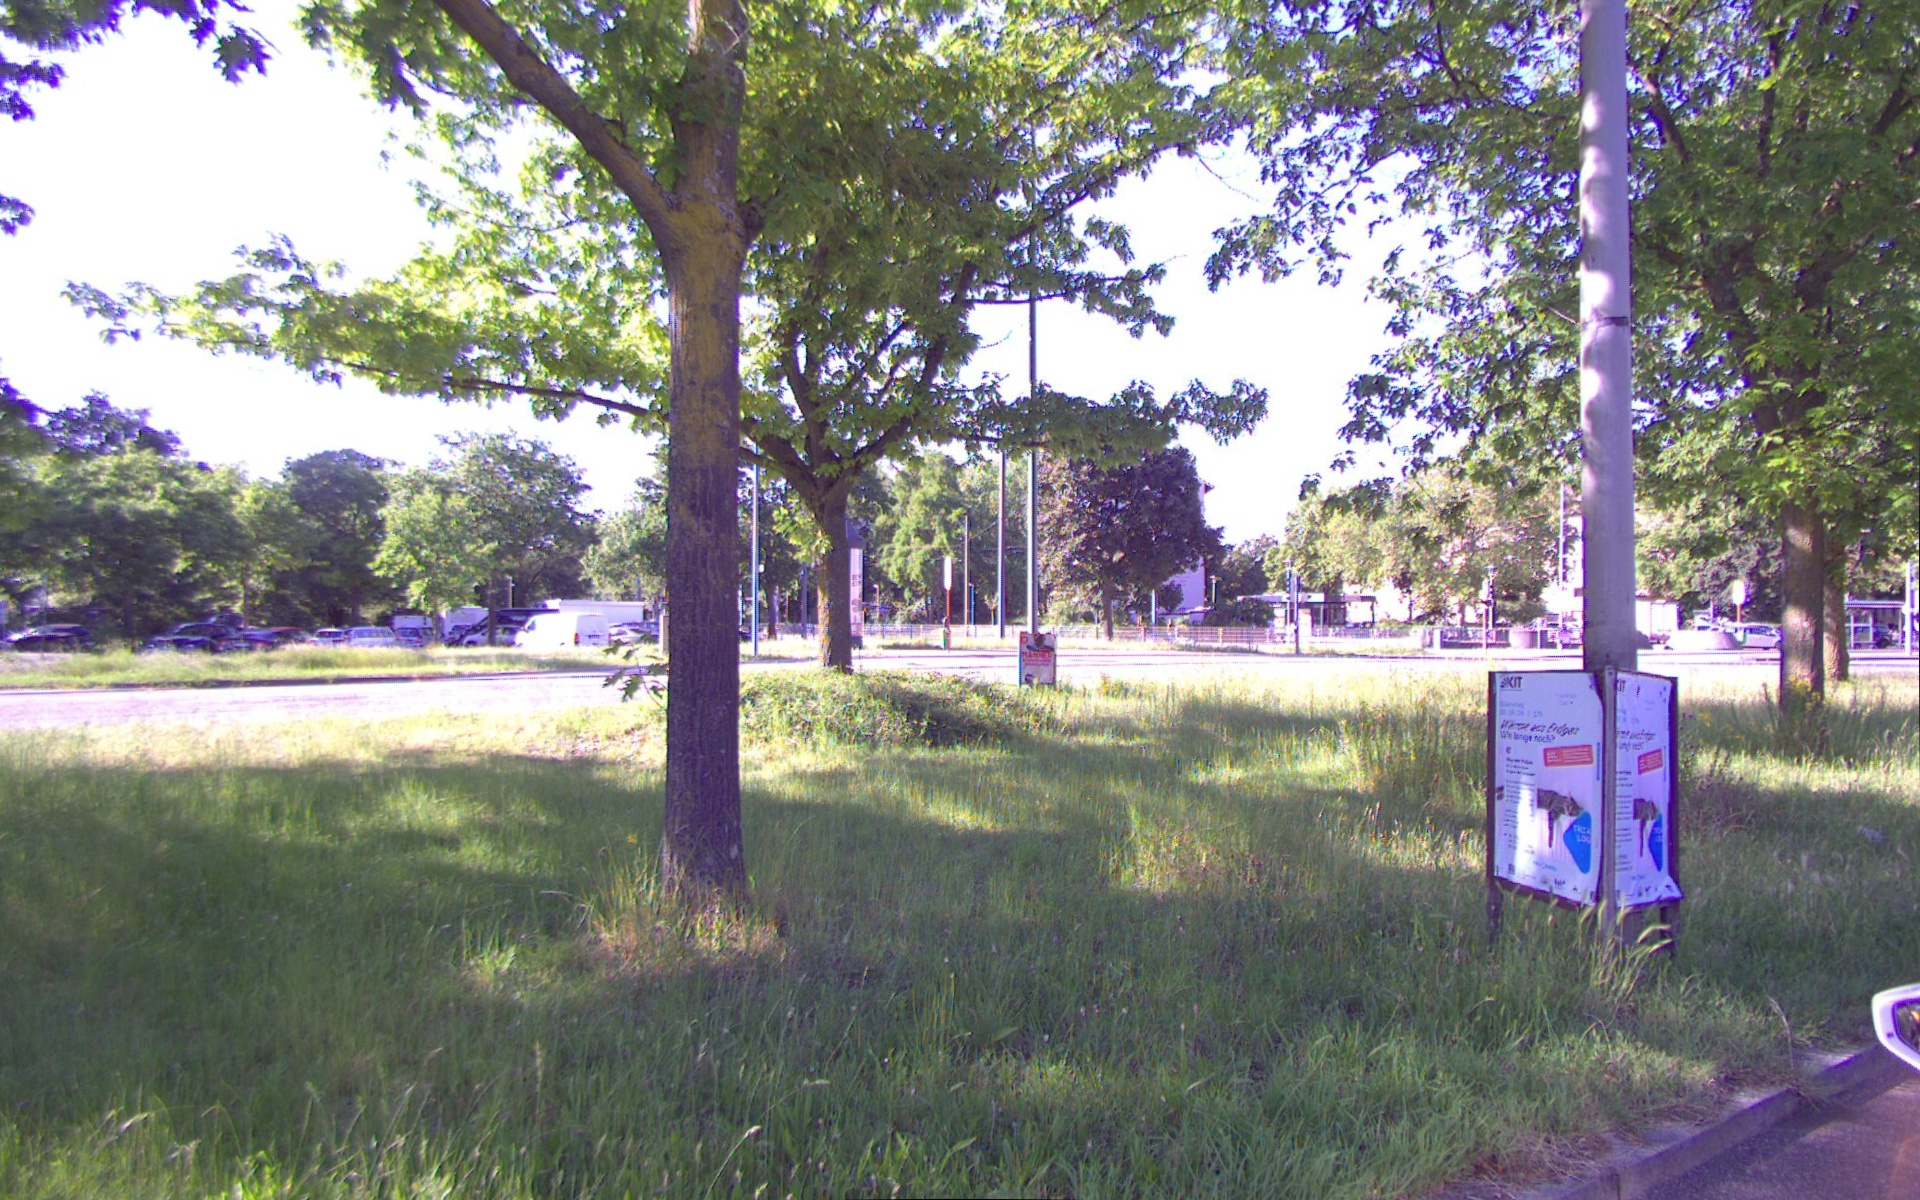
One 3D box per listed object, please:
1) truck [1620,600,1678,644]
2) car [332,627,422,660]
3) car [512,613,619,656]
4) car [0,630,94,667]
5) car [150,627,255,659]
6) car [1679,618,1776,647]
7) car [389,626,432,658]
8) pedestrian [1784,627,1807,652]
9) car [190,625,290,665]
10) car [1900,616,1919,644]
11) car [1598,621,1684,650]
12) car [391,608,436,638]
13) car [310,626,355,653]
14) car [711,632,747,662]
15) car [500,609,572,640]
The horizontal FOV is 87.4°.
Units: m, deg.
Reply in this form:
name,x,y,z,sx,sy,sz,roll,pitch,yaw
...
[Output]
name,x,y,z,sx,sy,sz,roll,pitch,yaw
truck,46.642,1.470,68.089,1.960,2.842,4.002,0,-1,15
car,-21.824,1.621,37.632,2.769,1.171,1.326,1,-1,-40
car,-17.216,1.462,43.799,4.670,1.762,2.024,0,-1,34
car,-47.657,2.480,51.902,1.966,1.817,3.990,0,-1,32
car,-26.841,1.491,35.627,1.315,1.078,2.777,0,-1,42
car,46.908,1.957,61.464,4.233,1.706,2.001,0,-1,9
car,-26.700,2.014,48.777,1.602,1.438,3.050,1,-1,-33
pedestrian,53.688,2.537,64.555,0.781,1.629,0.923,0,-1,9
car,-25.231,1.551,35.242,2.769,1.323,1.326,1,-1,-40
car,71.678,2.210,73.295,1.910,2.040,4.155,1,-1,-31
car,42.273,2.185,62.430,3.919,1.706,2.001,0,-1,9
car,-32.487,1.349,59.784,1.865,1.691,3.733,1,-1,-22
car,-29.293,1.810,46.863,1.603,1.194,3.047,1,-1,-35
car,-12.029,2.441,52.486,1.589,1.438,3.073,0,-1,-8
car,-24.128,1.398,57.287,3.698,1.691,1.883,1,-1,-23
